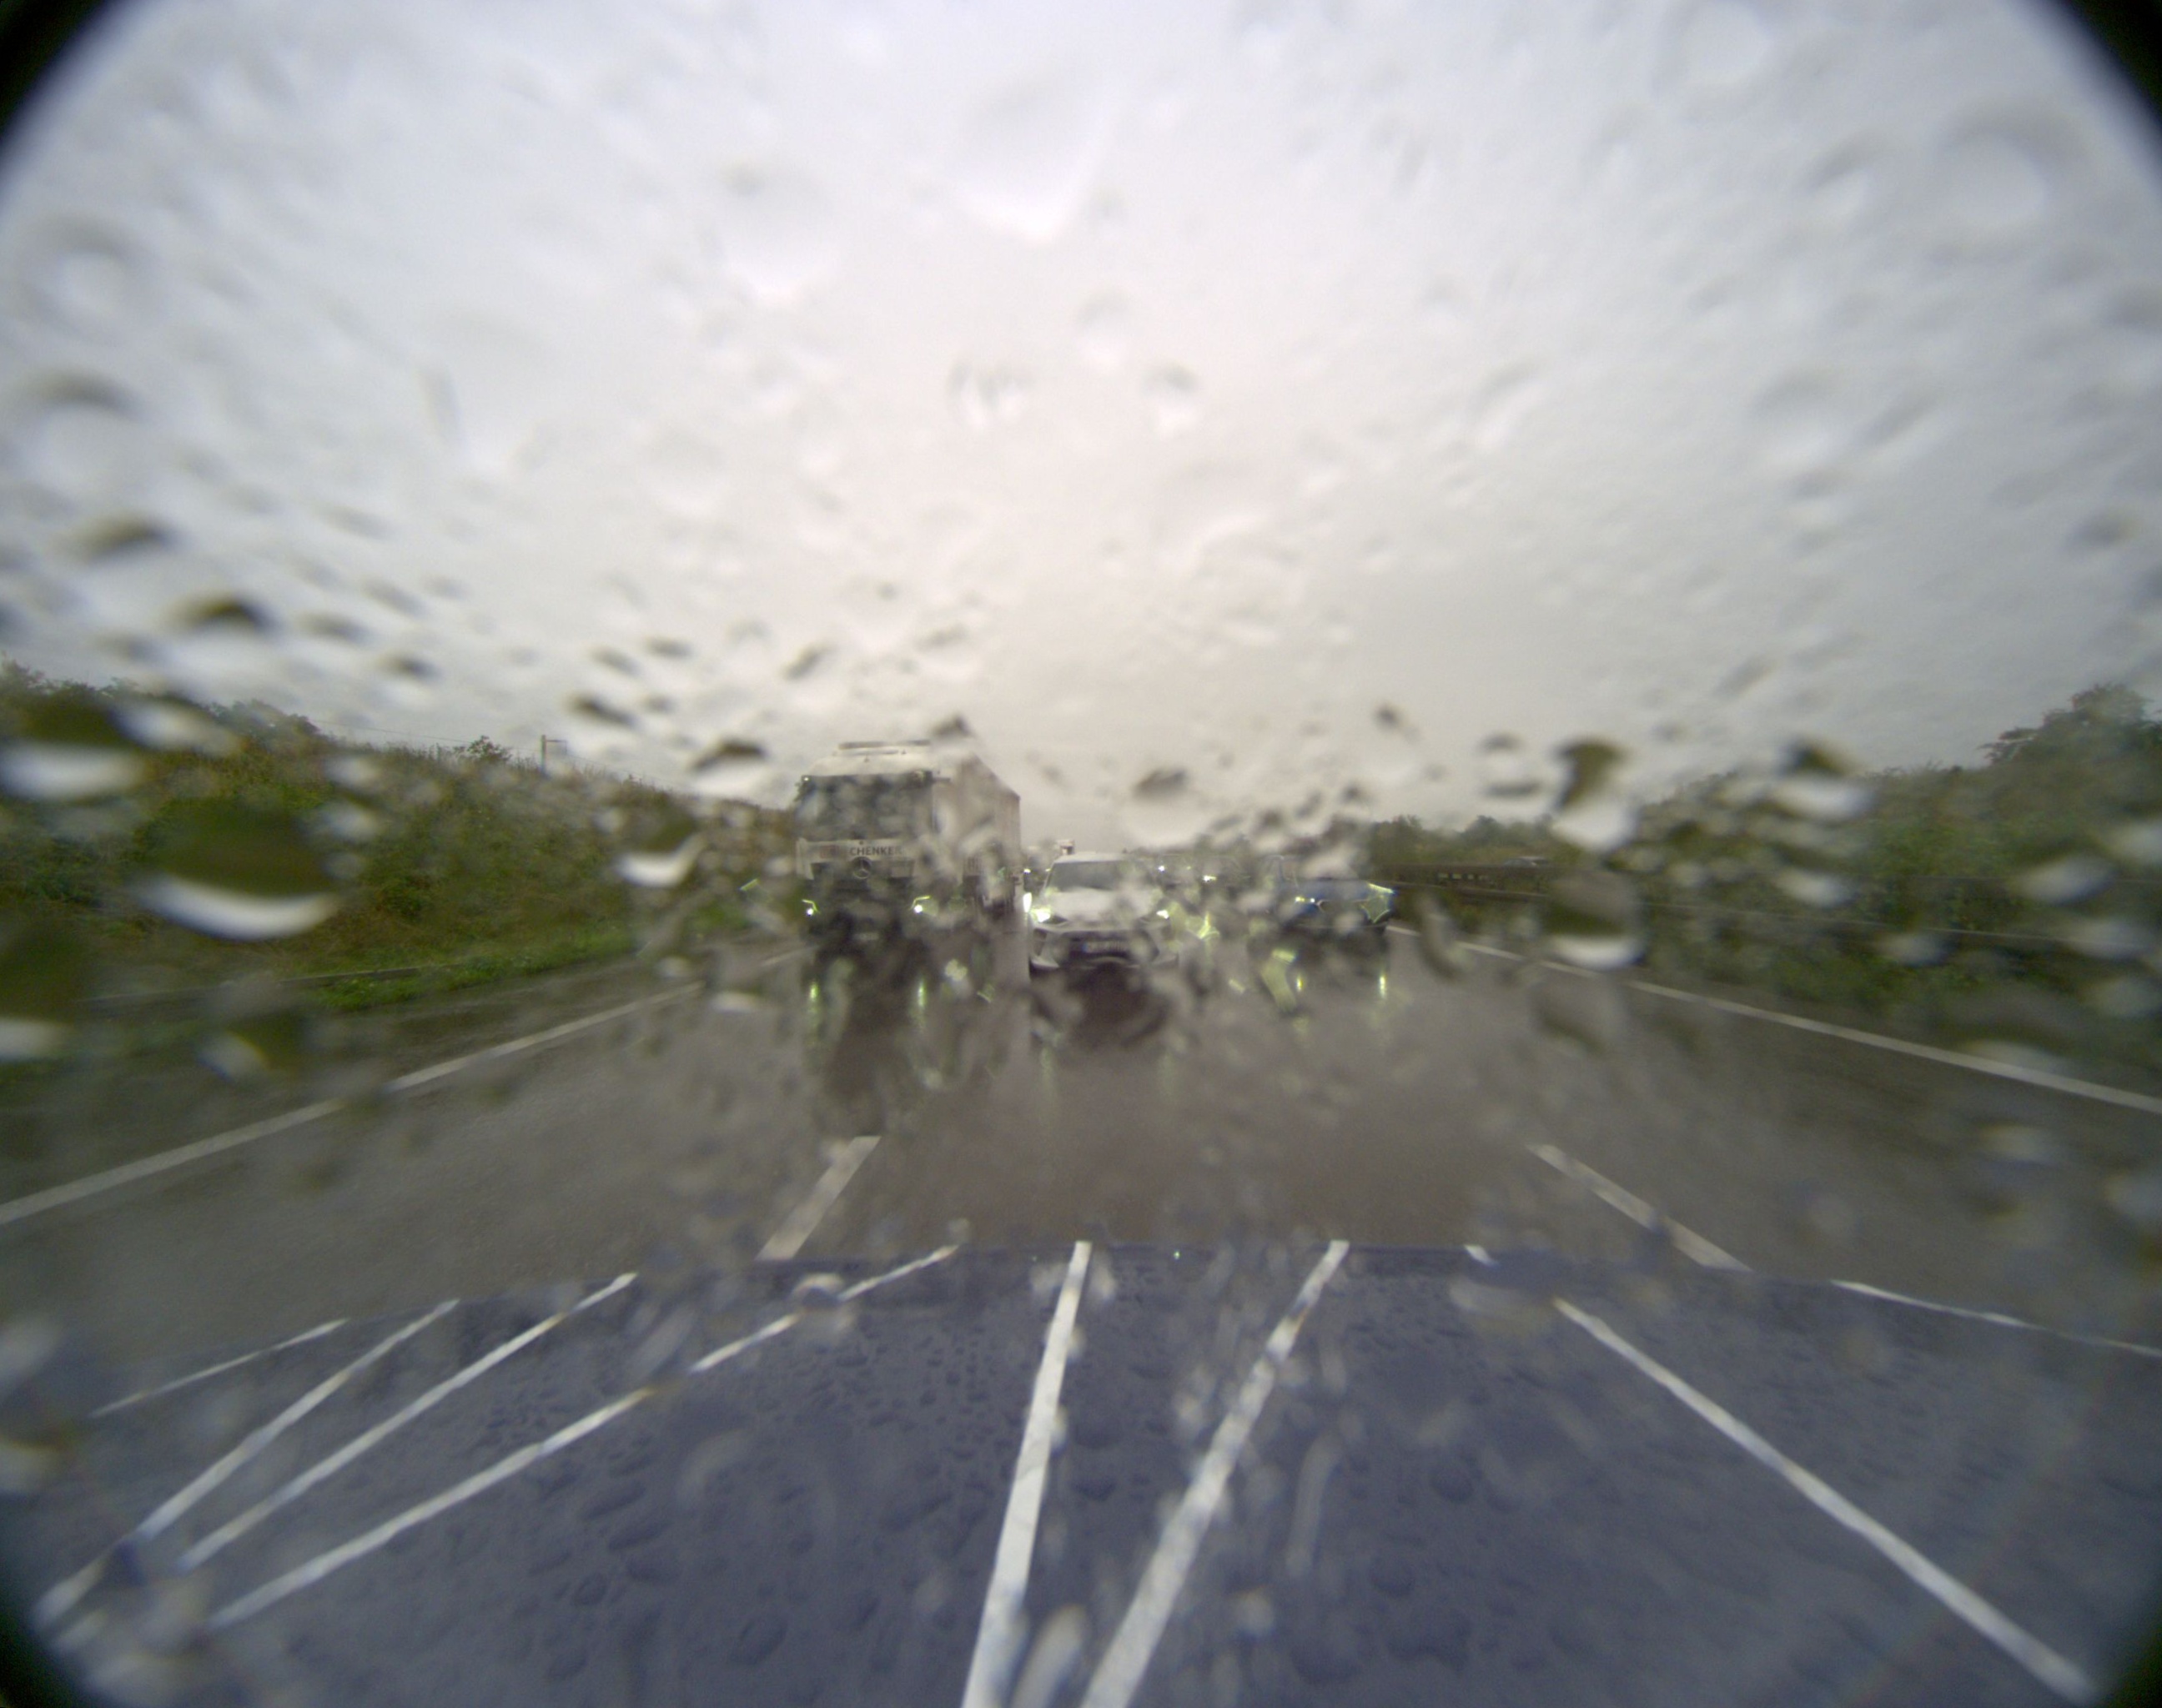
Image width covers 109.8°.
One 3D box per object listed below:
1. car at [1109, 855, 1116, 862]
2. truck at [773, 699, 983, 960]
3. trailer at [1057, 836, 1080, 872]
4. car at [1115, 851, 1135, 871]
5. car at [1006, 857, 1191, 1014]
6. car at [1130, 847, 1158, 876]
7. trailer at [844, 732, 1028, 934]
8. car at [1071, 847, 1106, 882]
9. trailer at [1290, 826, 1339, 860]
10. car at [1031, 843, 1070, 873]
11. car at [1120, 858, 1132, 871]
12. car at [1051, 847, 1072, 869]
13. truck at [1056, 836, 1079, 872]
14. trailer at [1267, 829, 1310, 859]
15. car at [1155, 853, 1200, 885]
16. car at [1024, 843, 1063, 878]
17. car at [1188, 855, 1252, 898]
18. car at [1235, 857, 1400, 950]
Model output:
[{"bbox_3d":[6.886,1.008,165.348,1.279,1.567,2.848,-2,0,0],"label":"car"},{"bbox_3d":[-3.673,-0.422,15.087,2.633,4.229,5.042,-2,1,0],"label":"truck"},{"bbox_3d":[-1.651,0.046,104.372,2.628,4.635,9.221,-2,0,1],"label":"trailer"},{"bbox_3d":[4.566,0.722,79.307,1.737,2.002,4.223,-2,0,1],"label":"car"},{"bbox_3d":[0.207,0.866,9.932,1.893,1.578,4.000,-2,0,1],"label":"car"},{"bbox_3d":[4.591,0.531,55.795,1.888,2.002,4.270,-2,0,4],"label":"car"},{"bbox_3d":[-3.580,-0.510,23.353,2.633,4.224,14.175,-2,1,1],"label":"trailer"},{"bbox_3d":[0.516,0.591,46.581,1.998,2.002,4.000,-2,0,2],"label":"car"},{"bbox_3d":[22.093,-0.998,72.408,1.998,3.064,8.871,-2,0,1],"label":"trailer"},{"bbox_3d":[-2.133,0.247,54.029,2.260,2.002,4.270,-2,1,4],"label":"car"},{"bbox_3d":[5.779,1.386,98.161,1.458,1.540,2.804,0,2,1],"label":"car"},{"bbox_3d":[-2.031,0.389,79.462,1.998,2.231,4.000,-2,0,1],"label":"car"},{"bbox_3d":[-1.748,0.020,99.170,2.628,4.635,4.290,-2,0,1],"label":"truck"},{"bbox_3d":[22.178,-1.021,81.614,1.998,3.064,9.554,-2,0,1],"label":"trailer"},{"bbox_3d":[5.199,0.787,41.363,1.889,1.622,4.269,-2,0,0],"label":"car"},{"bbox_3d":[-2.294,0.352,47.616,1.946,2.002,4.446,-2,1,3],"label":"car"},{"bbox_3d":[5.044,0.779,28.083,1.613,1.428,4.370,-2,0,1],"label":"car"},{"bbox_3d":[4.336,0.822,14.706,1.790,1.467,4.512,-2,0,1],"label":"car"}]
